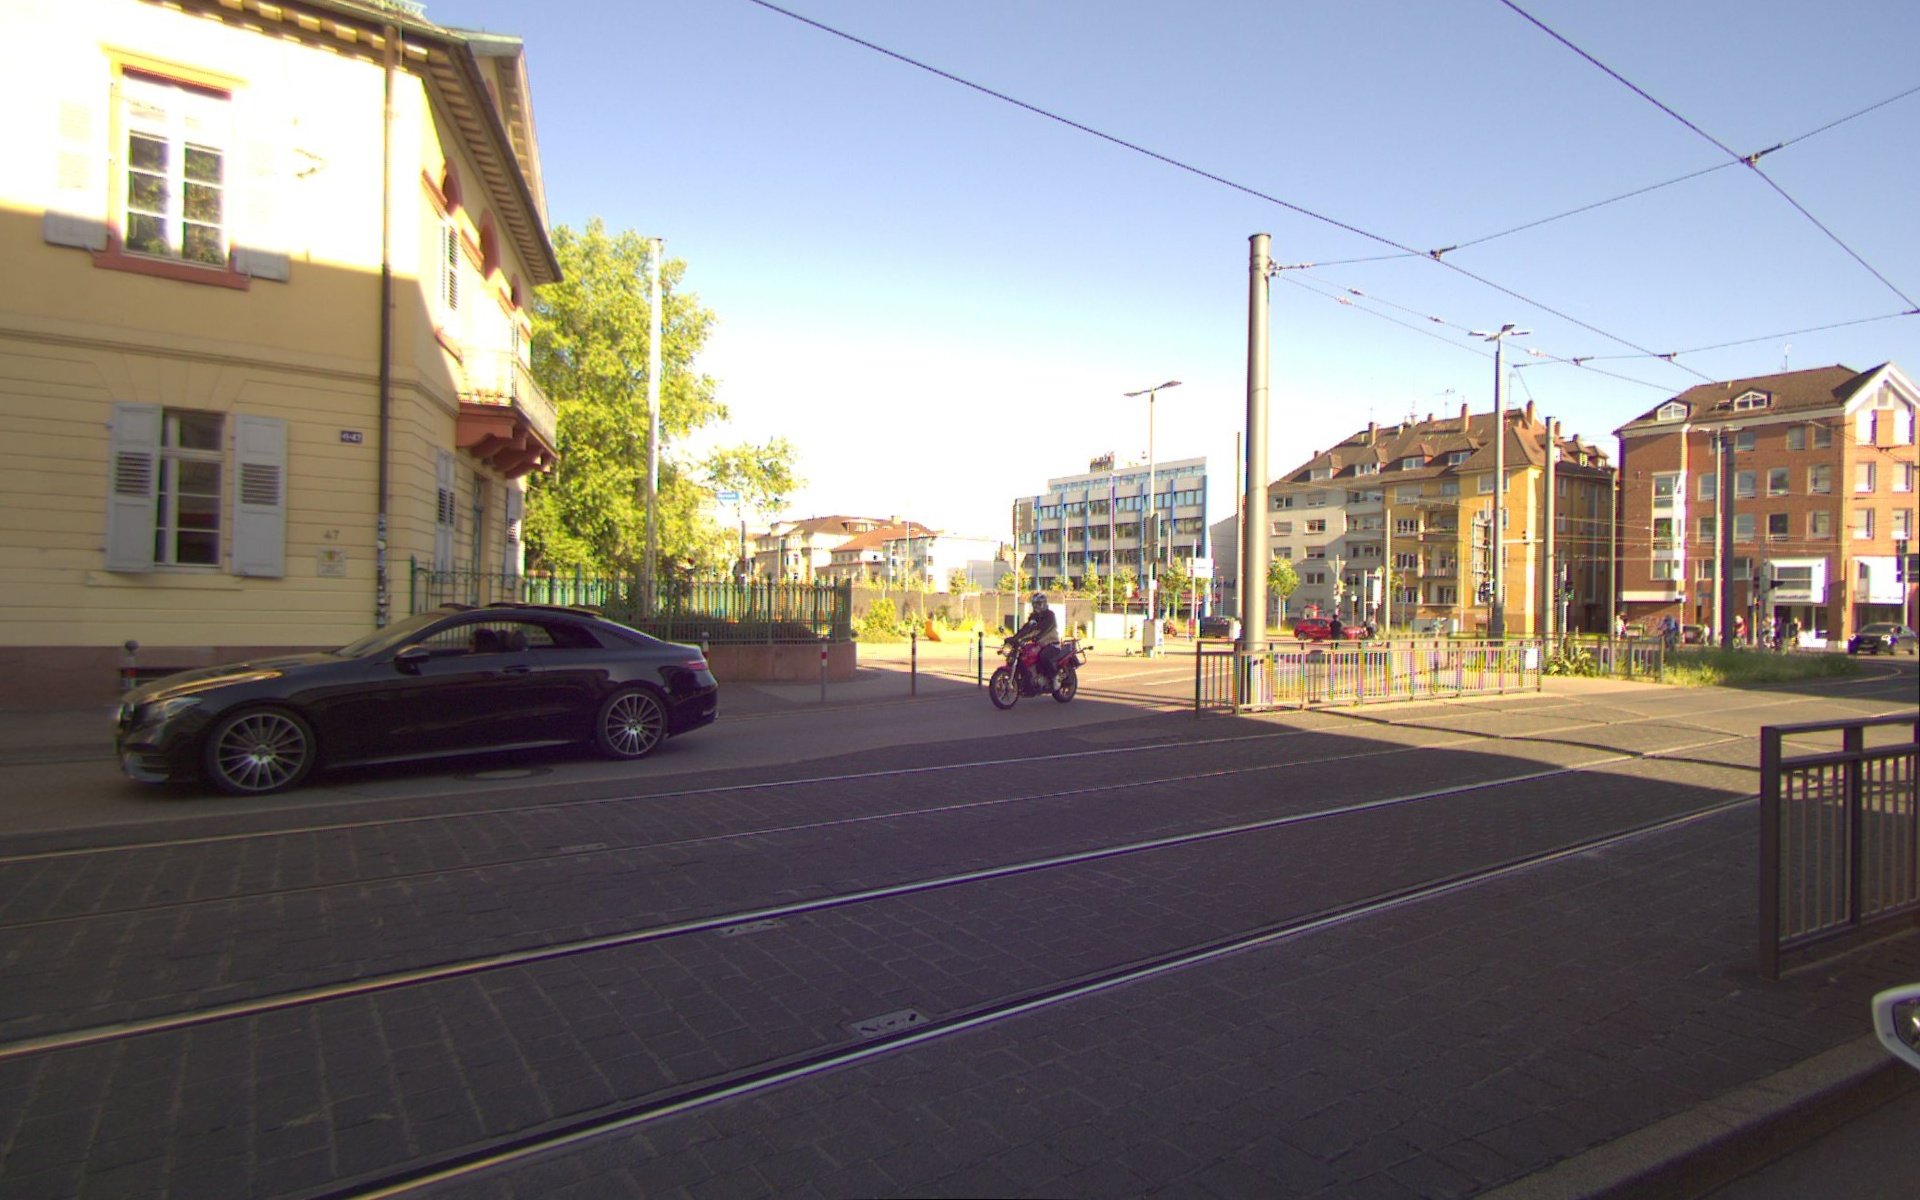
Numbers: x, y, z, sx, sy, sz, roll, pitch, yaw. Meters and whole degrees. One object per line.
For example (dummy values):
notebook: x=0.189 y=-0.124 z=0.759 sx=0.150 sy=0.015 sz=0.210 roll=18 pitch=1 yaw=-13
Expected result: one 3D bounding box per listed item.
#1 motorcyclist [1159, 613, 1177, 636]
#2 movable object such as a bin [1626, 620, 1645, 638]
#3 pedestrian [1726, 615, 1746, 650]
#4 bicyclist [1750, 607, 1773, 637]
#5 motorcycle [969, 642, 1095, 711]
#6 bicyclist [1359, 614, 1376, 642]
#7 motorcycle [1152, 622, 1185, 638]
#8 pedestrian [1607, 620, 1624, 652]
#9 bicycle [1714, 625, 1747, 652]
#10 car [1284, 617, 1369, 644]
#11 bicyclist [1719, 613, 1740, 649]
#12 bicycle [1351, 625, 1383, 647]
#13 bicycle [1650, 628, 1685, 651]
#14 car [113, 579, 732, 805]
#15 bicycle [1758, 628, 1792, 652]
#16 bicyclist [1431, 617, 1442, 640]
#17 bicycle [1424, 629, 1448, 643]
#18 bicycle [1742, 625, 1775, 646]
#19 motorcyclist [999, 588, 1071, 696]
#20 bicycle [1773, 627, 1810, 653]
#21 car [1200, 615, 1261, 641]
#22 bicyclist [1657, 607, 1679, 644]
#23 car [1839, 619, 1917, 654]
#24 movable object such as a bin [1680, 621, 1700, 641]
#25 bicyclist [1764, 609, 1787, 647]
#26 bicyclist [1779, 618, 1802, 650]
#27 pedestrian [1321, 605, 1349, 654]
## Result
motorcyclist: x=14.436 y=1.721 z=69.722 sx=0.775 sy=1.544 sz=0.914 roll=2 pitch=0 yaw=-36
movable object such as a bin: x=54.532 y=2.354 z=81.056 sx=1.087 sy=1.456 sz=0.988 roll=2 pitch=0 yaw=-39
pedestrian: x=45.477 y=1.920 z=58.877 sx=0.819 sy=2.040 sz=0.592 roll=2 pitch=0 yaw=-27
bicyclist: x=41.199 y=1.133 z=51.636 sx=0.721 sy=1.473 sz=0.661 roll=2 pitch=0 yaw=-29
motorcycle: x=1.118 y=1.124 z=15.206 sx=2.141 sy=0.939 sz=0.593 roll=2 pitch=0 yaw=-43
bicyclist: x=22.172 y=1.515 z=54.652 sx=0.605 sy=1.513 sz=0.608 roll=2 pitch=0 yaw=-44
motorcycle: x=14.441 y=2.077 z=69.712 sx=0.784 sy=0.997 sz=2.342 roll=2 pitch=0 yaw=-36
pedestrian: x=36.494 y=1.983 z=55.909 sx=0.700 sy=1.711 sz=0.619 roll=-1 pitch=2 yaw=-42
bicycle: x=36.989 y=1.846 z=48.193 sx=1.862 sy=1.230 sz=0.527 roll=2 pitch=0 yaw=-29
car: x=21.836 y=1.806 z=59.970 sx=1.768 sy=1.529 sz=4.513 roll=1 pitch=-2 yaw=-39
bicyclist: x=36.847 y=1.469 z=48.110 sx=0.761 sy=1.695 sz=0.518 roll=2 pitch=0 yaw=-29
bicycle: x=22.139 y=1.953 z=54.676 sx=0.608 sy=1.148 sz=1.481 roll=2 pitch=-1 yaw=-43
bicycle: x=32.798 y=1.818 z=46.560 sx=1.862 sy=1.027 sz=0.527 roll=2 pitch=0 yaw=-29
car: x=-4.551 y=0.681 z=9.029 sx=4.635 sy=1.529 sz=1.761 roll=2 pitch=-2 yaw=-42
bicycle: x=37.243 y=1.838 z=45.898 sx=1.873 sy=1.027 sz=0.527 roll=2 pitch=0 yaw=-29
bicyclist: x=27.498 y=1.653 z=57.937 sx=0.453 sy=1.333 sz=0.397 roll=2 pitch=0 yaw=44
bicycle: x=27.457 y=2.091 z=57.946 sx=1.160 sy=0.774 sz=0.318 roll=2 pitch=0 yaw=45
bicycle: x=40.981 y=1.832 z=51.554 sx=1.862 sy=1.027 sz=0.647 roll=2 pitch=0 yaw=-29
motorcyclist: x=1.138 y=0.625 z=15.210 sx=0.878 sy=1.579 sz=0.646 roll=2 pitch=0 yaw=-44
bicycle: x=43.808 y=2.107 z=52.907 sx=1.997 sy=1.308 sz=0.572 roll=2 pitch=0 yaw=-22
car: x=17.568 y=1.814 z=65.392 sx=1.560 sy=1.491 sz=3.673 roll=2 pitch=0 yaw=-36
bicyclist: x=32.800 y=1.185 z=46.556 sx=0.761 sy=1.695 sz=0.518 roll=2 pitch=0 yaw=-29
car: x=45.162 y=1.810 z=49.398 sx=4.074 sy=1.581 sz=1.676 roll=2 pitch=0 yaw=-30
movable object such as a bin: x=56.697 y=2.395 z=77.963 sx=1.087 sy=1.456 sz=0.988 roll=2 pitch=0 yaw=-39
bicyclist: x=37.250 y=1.277 z=45.890 sx=0.761 sy=1.695 sz=0.522 roll=2 pitch=0 yaw=-28
bicyclist: x=43.661 y=1.777 z=52.792 sx=0.794 sy=1.671 sz=0.587 roll=2 pitch=0 yaw=-21
pedestrian: x=15.252 y=1.180 z=40.876 sx=0.784 sy=1.959 sz=0.724 roll=2 pitch=0 yaw=-9
